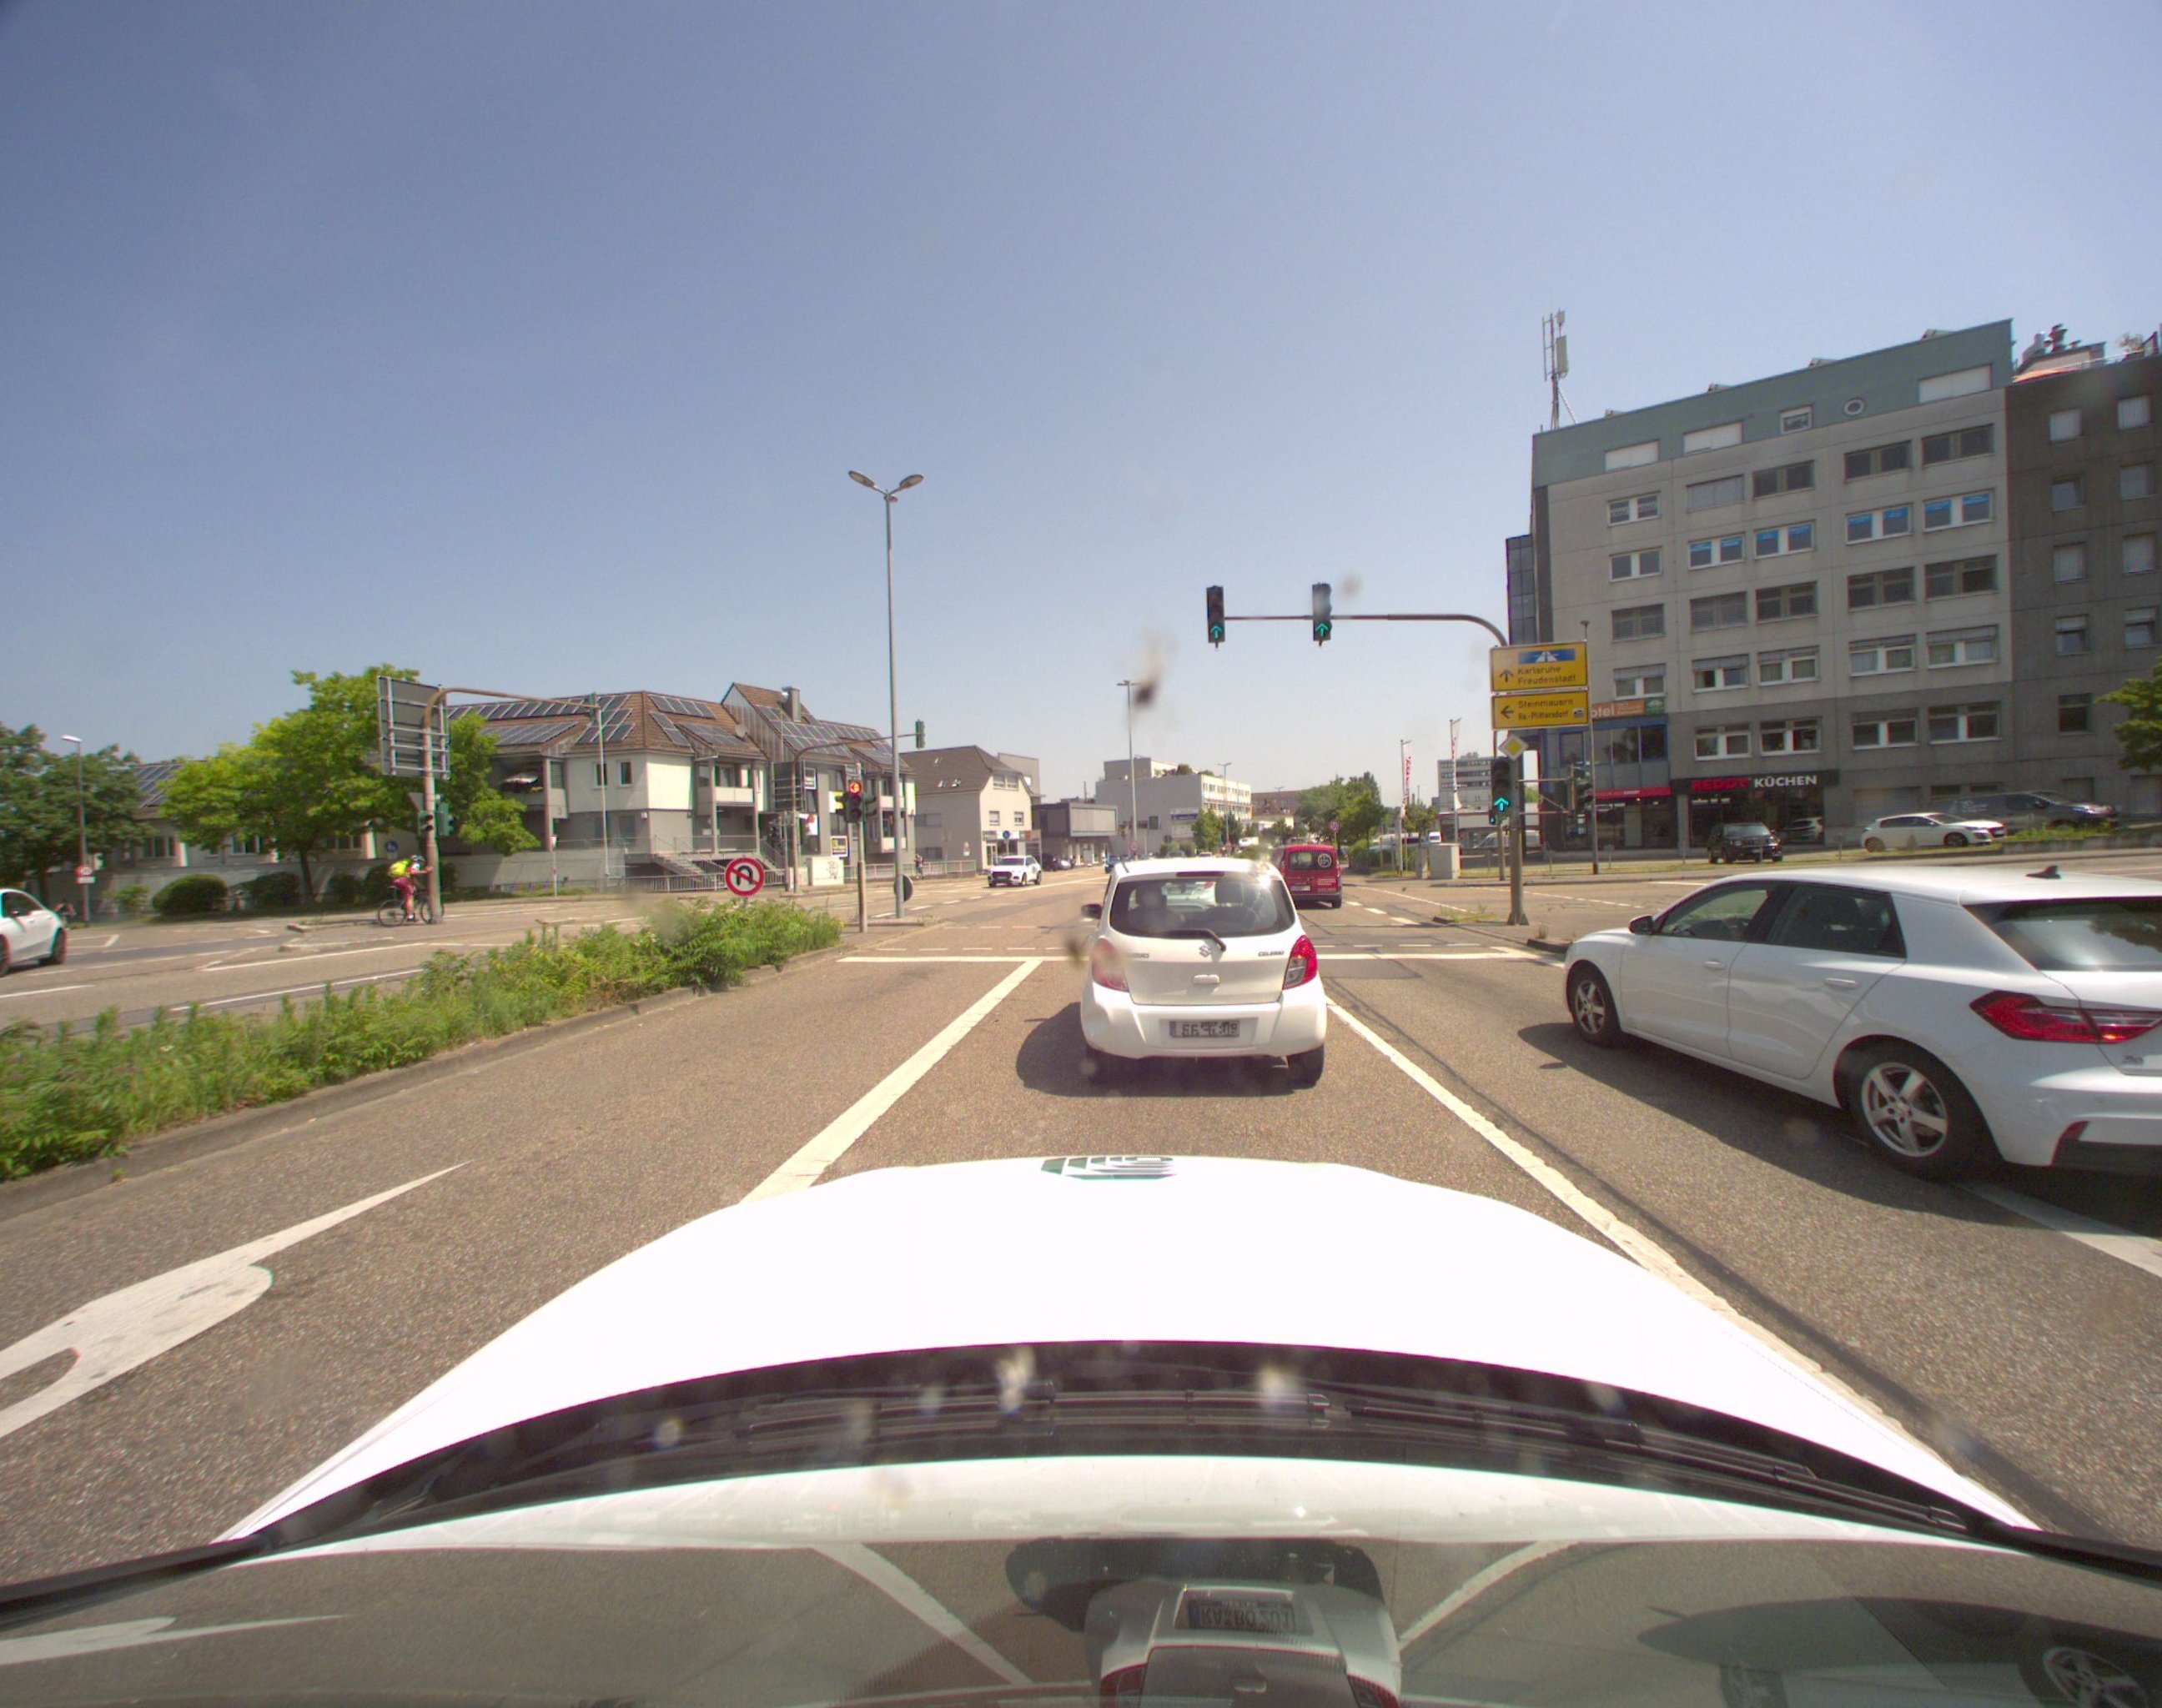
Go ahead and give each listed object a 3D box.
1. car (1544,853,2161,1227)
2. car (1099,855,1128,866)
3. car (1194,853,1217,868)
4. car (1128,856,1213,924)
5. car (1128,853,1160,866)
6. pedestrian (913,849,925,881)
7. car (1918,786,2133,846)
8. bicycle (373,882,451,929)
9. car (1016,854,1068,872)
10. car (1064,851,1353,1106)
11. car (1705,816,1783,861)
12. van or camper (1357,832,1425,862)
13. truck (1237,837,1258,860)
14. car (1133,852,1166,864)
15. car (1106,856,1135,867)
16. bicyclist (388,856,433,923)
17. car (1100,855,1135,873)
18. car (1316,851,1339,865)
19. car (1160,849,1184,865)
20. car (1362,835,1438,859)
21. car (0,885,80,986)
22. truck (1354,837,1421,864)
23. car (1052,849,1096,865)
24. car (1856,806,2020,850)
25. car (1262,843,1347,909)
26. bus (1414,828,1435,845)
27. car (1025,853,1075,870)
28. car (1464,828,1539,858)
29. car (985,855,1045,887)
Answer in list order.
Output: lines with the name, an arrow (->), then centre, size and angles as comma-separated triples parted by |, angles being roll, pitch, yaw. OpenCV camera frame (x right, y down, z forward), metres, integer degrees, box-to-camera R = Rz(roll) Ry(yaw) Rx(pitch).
car -> 4.652, 0.712, 4.971 | 1.660, 1.399, 3.797 | -1, 0, 4
car -> 5.070, 1.070, 127.327 | 3.939, 1.467, 1.974 | -2, 0, 19
car -> 13.021, 0.684, 85.236 | 1.849, 1.431, 4.763 | -1, 0, 15
car -> 2.267, 0.802, 19.830 | 1.819, 1.450, 4.010 | -1, 0, 9
car -> 8.292, 0.718, 107.021 | 3.954, 1.459, 1.583 | -2, -1, 19
pedestrian -> -10.464, 0.710, 52.687 | 0.499, 2.013, 0.745 | -1, 1, 8
car -> 36.250, -1.367, 31.508 | 1.888, 2.037, 5.166 | 1, 0, -15
bicycle -> -16.977, 1.292, 20.713 | 0.419, 1.054, 1.790 | 0, 1, 2
car -> -3.781, 0.858, 78.576 | 4.565, 1.627, 1.864 | 2, 1, 23
car -> 0.863, 0.762, 6.499 | 1.705, 1.511, 3.250 | 0, -1, 4
car -> 27.001, -0.608, 33.295 | 1.524, 1.675, 4.355 | -2, 0, 26
van or camper -> 34.002, -0.782, 89.236 | 6.736, 2.897, 2.288 | -3, 0, 23
truck -> 25.776, -0.749, 126.055 | 2.246, 3.417, 7.073 | -1, -1, 19
car -> 9.259, 0.516, 109.619 | 3.960, 1.371, 1.679 | -4, 1, 26
car -> 6.344, 1.199, 130.459 | 3.940, 1.467, 2.084 | -4, 0, 22
bicyclist -> -16.972, 0.881, 20.640 | 0.419, 1.642, 0.821 | 0, 0, 2
car -> 2.962, 0.781, 64.537 | 1.849, 1.366, 4.364 | -1, 0, 15
car -> 25.258, 0.371, 83.381 | 1.782, 1.406, 4.344 | 0, 0, 22
car -> 10.344, 0.371, 92.205 | 1.979, 1.656, 4.611 | -2, 0, 14
car -> 23.073, -0.493, 59.006 | 4.711, 1.713, 1.999 | 0, -1, -2
car -> -18.108, 1.310, 13.027 | 1.884, 1.424, 4.217 | -4, 2, -41
truck -> 32.025, -0.371, 85.115 | 6.188, 2.336, 2.382 | -3, 1, 25
car -> -0.707, 0.313, 84.181 | 4.022, 1.521, 2.010 | -2, -1, 21
car -> 33.410, -0.956, 31.924 | 1.541, 1.533, 4.203 | 0, -1, -15
car -> 6.411, 0.589, 23.767 | 1.785, 1.729, 3.980 | -1, 0, 6
bus -> 69.610, -3.561, 164.873 | 2.778, 3.078, 12.361 | -1, 2, 28
car -> -3.095, 0.780, 81.522 | 4.571, 1.496, 1.760 | 2, 1, 16
car -> 37.433, -0.942, 72.620 | 5.831, 2.528, 2.132 | -1, -1, 27
car -> -3.386, 0.846, 42.718 | 1.804, 1.570, 4.573 | -1, 0, 14
